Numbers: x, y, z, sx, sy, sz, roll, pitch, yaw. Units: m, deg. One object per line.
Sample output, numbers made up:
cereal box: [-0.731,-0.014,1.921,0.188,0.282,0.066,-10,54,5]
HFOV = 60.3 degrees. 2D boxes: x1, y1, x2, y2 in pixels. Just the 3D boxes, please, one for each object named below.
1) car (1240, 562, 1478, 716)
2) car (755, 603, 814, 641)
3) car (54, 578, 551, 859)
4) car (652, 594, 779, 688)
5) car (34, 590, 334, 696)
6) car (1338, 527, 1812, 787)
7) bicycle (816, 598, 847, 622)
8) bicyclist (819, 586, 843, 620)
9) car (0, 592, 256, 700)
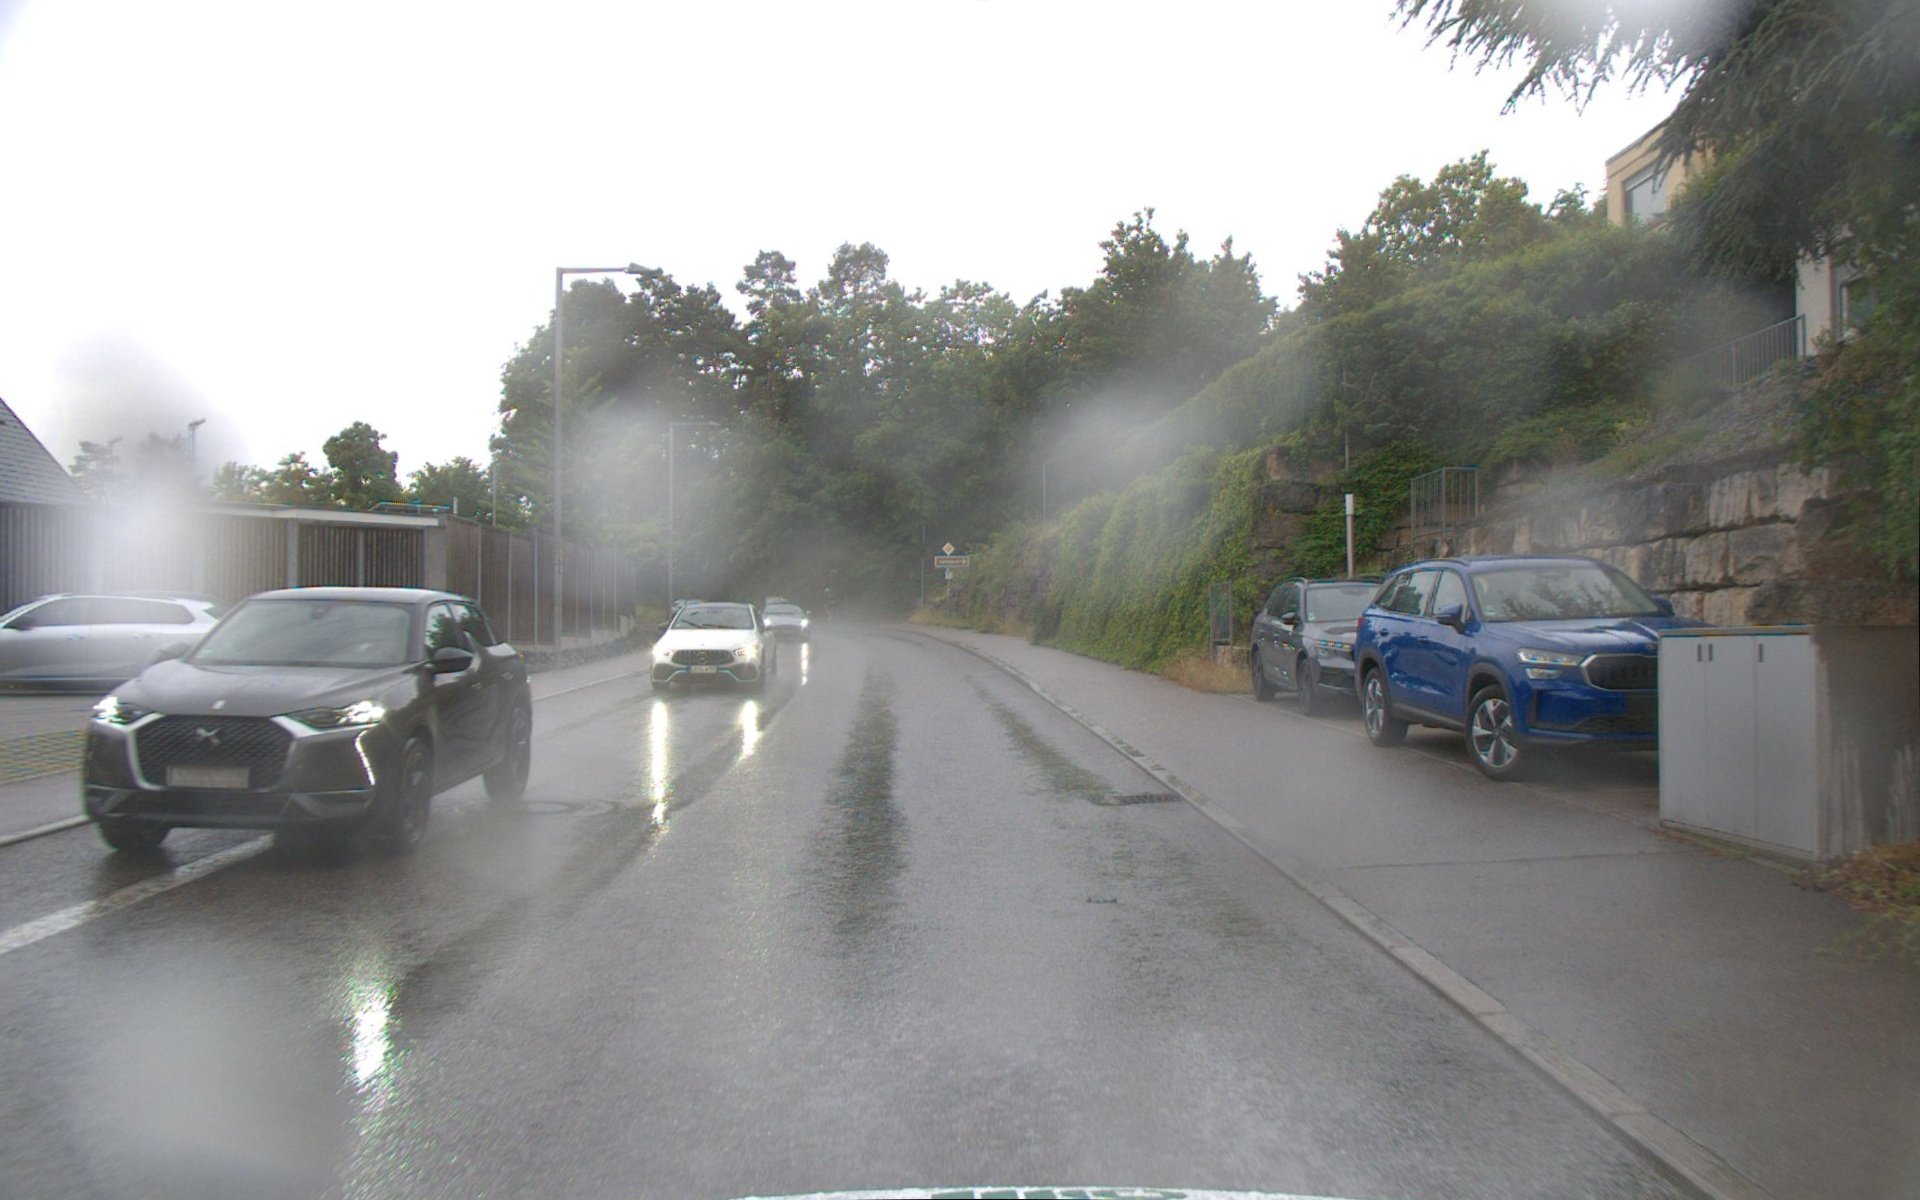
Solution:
car: [4.679,0.421,19.999,1.774,1.590,4.009,-3,0,-1]
car: [-6.320,0.768,59.213,1.847,1.305,4.199,0,0,-10]
car: [-3.994,0.639,10.758,1.813,1.495,3.698,1,0,-2]
car: [-4.161,0.656,28.725,1.810,1.486,4.264,1,0,-4]
car: [-12.802,0.680,27.394,4.247,1.629,1.814,1,0,-37]
car: [4.785,0.390,13.715,1.954,1.699,4.541,-3,0,-4]
bicycle: [-6.560,0.495,84.296,1.590,1.103,0.527,5,4,38]
bicyclist: [-6.568,0.164,84.297,0.888,1.642,0.720,5,4,37]
car: [-12.783,0.645,23.892,4.493,1.467,1.735,2,-1,-42]
